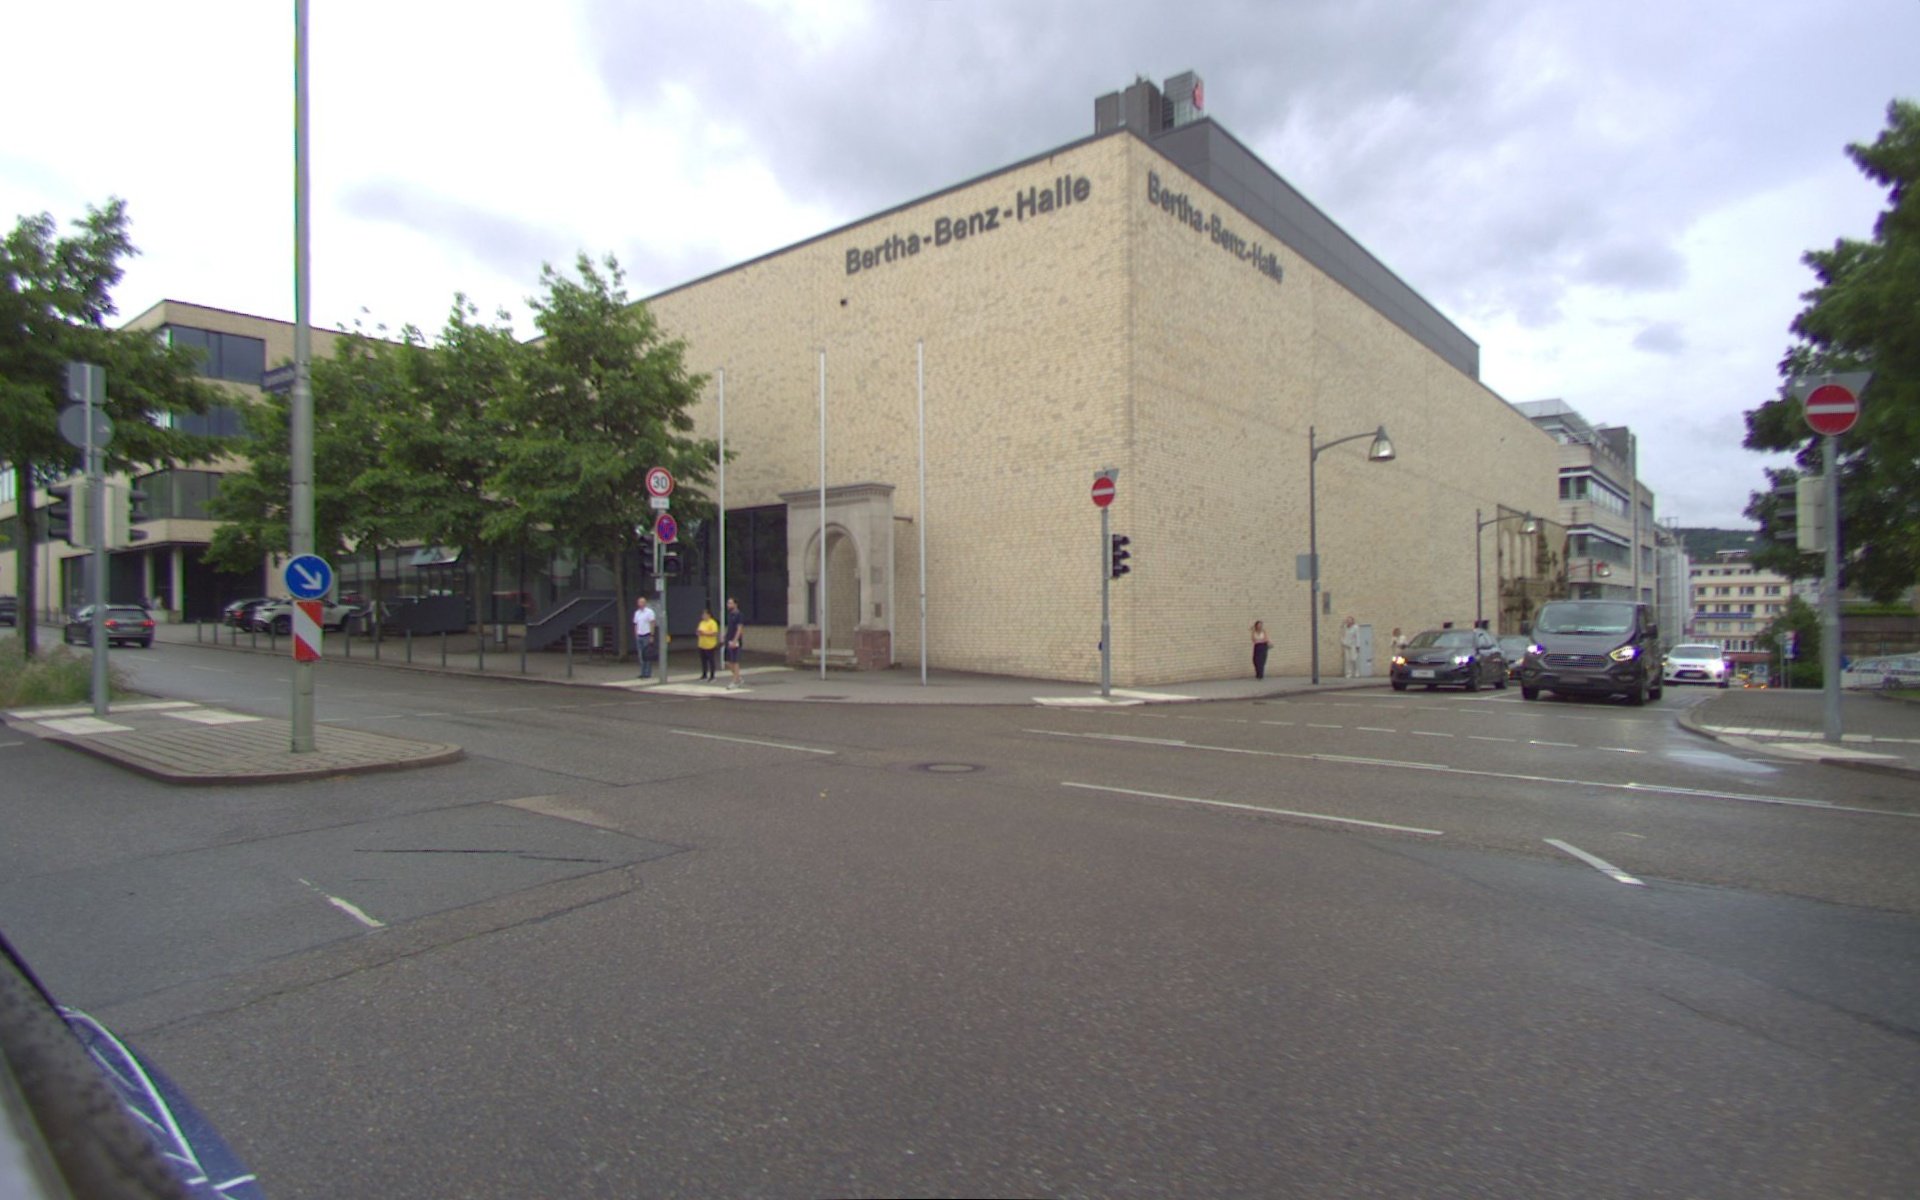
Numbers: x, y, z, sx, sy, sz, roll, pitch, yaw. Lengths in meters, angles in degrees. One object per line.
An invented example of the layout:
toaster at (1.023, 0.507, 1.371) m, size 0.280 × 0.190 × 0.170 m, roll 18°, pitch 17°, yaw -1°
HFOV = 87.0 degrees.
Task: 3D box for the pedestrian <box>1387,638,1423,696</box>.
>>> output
pedestrian at (13.883, 2.075, 31.556) m, size 0.806 × 1.684 × 1.100 m, roll -1°, pitch 1°, yaw 37°

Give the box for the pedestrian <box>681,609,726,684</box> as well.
pedestrian at (-5.378, 0.958, 21.212) m, size 0.691 × 1.528 × 0.588 m, roll 0°, pitch 1°, yaw 38°

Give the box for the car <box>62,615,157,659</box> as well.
car at (-30.157, 1.292, 35.855) m, size 4.294 × 1.481 × 1.655 m, roll -1°, pitch -3°, yaw 38°

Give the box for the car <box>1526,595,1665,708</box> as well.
car at (12.627, 1.052, 19.971) m, size 1.996 × 1.940 × 4.733 m, roll -1°, pitch -4°, yaw 36°

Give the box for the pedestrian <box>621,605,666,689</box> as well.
pedestrian at (-6.746, 0.986, 21.556) m, size 0.690 × 1.744 × 0.589 m, roll -1°, pitch 1°, yaw 34°

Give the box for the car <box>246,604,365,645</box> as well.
car at (-28.160, 1.011, 43.611) m, size 2.000 × 1.597 × 3.944 m, roll 0°, pitch 1°, yaw 43°

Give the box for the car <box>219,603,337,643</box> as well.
car at (-30.156, 0.965, 44.814) m, size 2.000 × 1.597 × 3.944 m, roll 0°, pitch 1°, yaw 43°

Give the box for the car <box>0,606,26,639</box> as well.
car at (-49.618, 1.142, 51.983) m, size 4.294 × 1.620 × 1.655 m, roll -1°, pitch -3°, yaw 38°

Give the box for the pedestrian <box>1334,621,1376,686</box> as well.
pedestrian at (11.044, 1.467, 28.267) m, size 0.806 × 1.713 × 1.100 m, roll -1°, pitch 1°, yaw 37°

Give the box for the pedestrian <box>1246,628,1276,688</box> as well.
pedestrian at (7.189, 1.368, 24.163) m, size 0.474 × 1.386 × 0.614 m, roll 0°, pitch 1°, yaw 40°

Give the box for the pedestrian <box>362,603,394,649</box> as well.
pedestrian at (-21.547, 0.939, 37.481) m, size 0.793 × 1.659 × 0.977 m, roll -2°, pitch 1°, yaw -44°

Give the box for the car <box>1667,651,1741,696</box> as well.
car at (26.639, 2.631, 36.173) m, size 1.998 × 1.469 × 3.948 m, roll -1°, pitch -4°, yaw 38°

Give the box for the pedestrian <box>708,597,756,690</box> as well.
pedestrian at (-4.506, 0.833, 19.969) m, size 0.691 × 1.784 × 0.588 m, roll -1°, pitch 1°, yaw 38°

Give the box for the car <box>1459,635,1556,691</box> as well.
car at (15.984, 1.844, 29.455) m, size 1.996 × 1.469 × 3.951 m, roll -1°, pitch -4°, yaw 36°

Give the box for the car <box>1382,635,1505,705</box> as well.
car at (11.288, 1.620, 23.499) m, size 1.995 × 1.453 × 3.952 m, roll 0°, pitch -4°, yaw 35°
